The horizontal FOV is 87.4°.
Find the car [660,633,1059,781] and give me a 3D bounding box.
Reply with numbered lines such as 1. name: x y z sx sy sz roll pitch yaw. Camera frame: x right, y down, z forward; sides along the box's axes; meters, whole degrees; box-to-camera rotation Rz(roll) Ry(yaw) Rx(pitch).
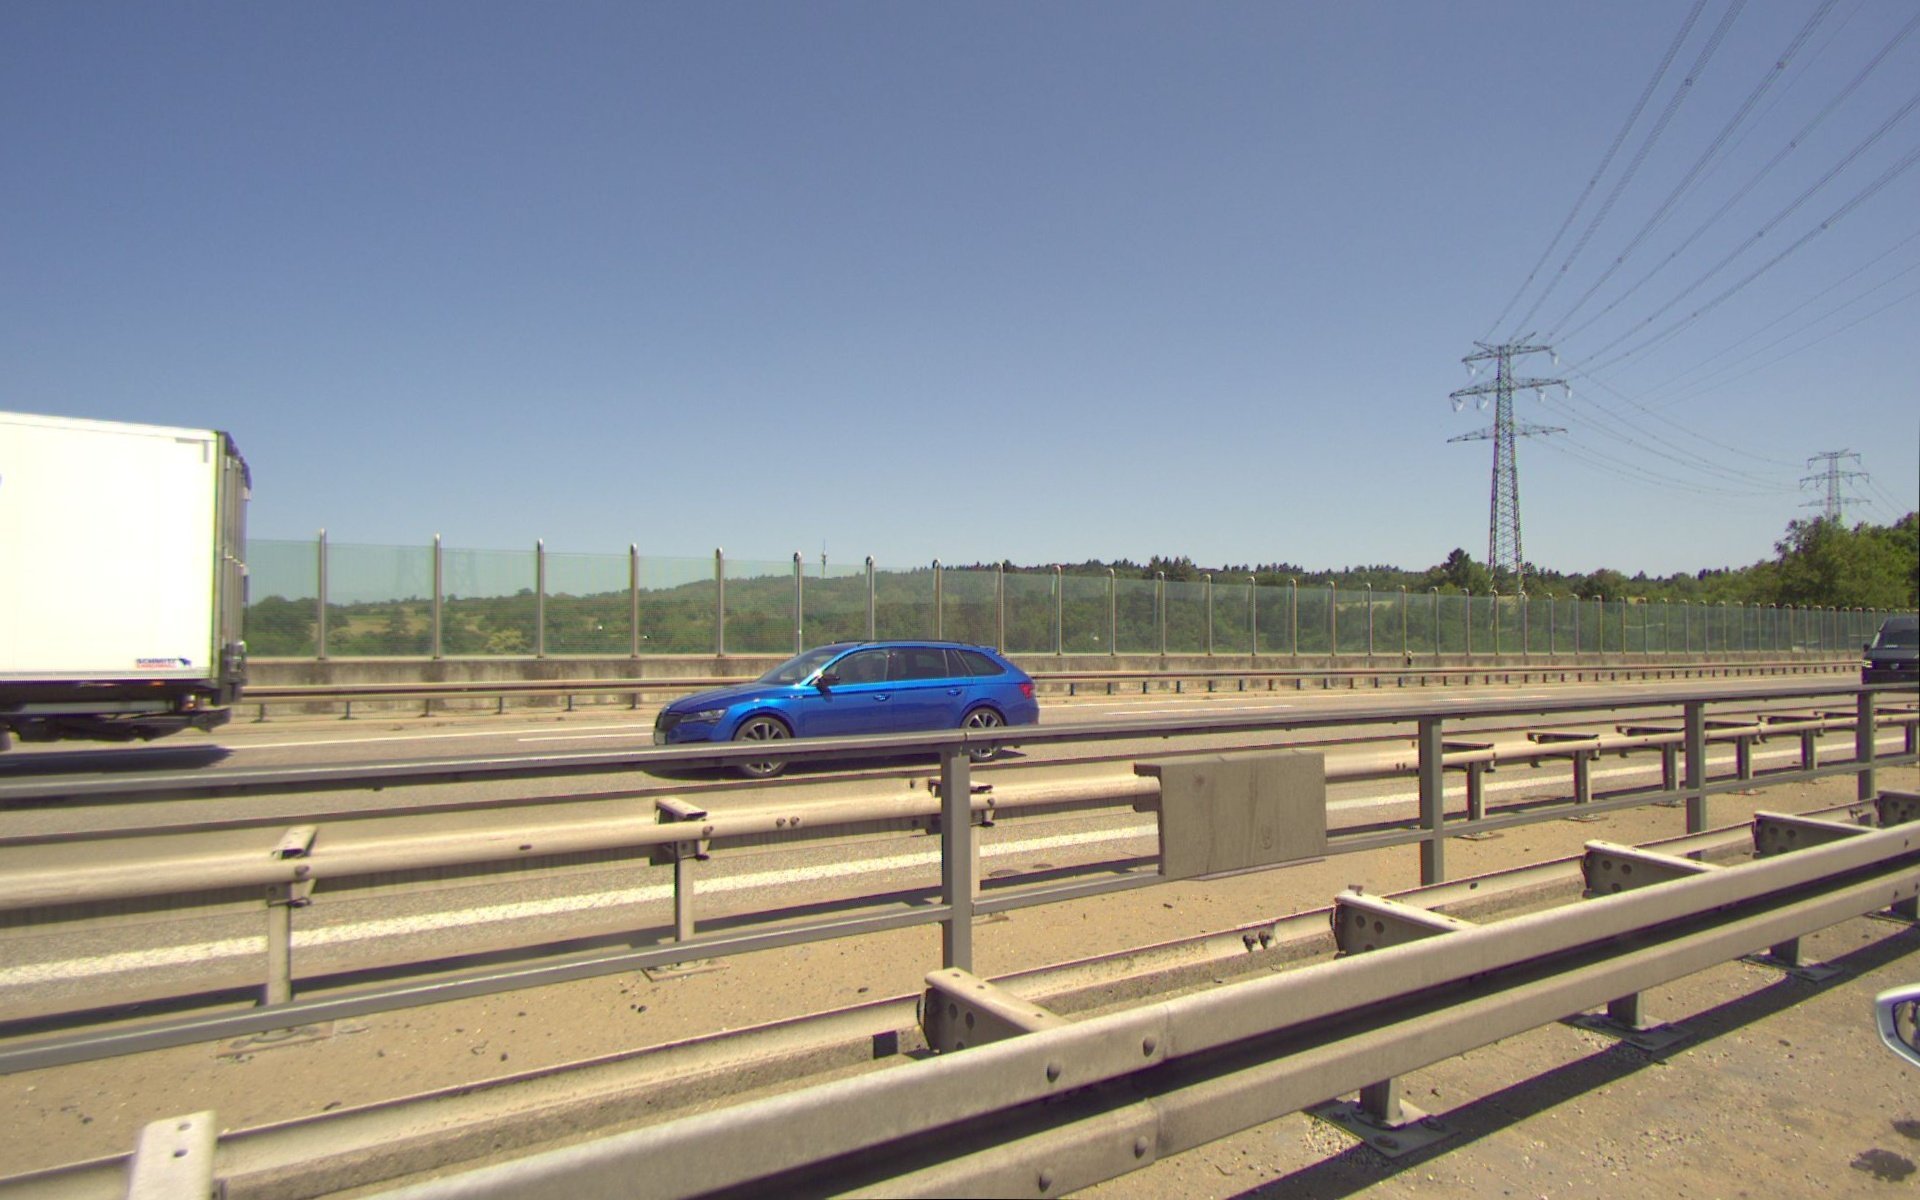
1. car: -1.148 1.182 12.269 4.551 1.511 1.764 1 -2 -31

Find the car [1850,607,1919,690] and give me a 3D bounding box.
1. car: 32.954 1.679 34.310 6.577 2.616 1.983 2 -3 -32

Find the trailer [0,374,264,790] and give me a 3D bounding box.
1. trailer: -14.920 -0.314 9.364 13.502 4.363 2.893 2 -3 -30
